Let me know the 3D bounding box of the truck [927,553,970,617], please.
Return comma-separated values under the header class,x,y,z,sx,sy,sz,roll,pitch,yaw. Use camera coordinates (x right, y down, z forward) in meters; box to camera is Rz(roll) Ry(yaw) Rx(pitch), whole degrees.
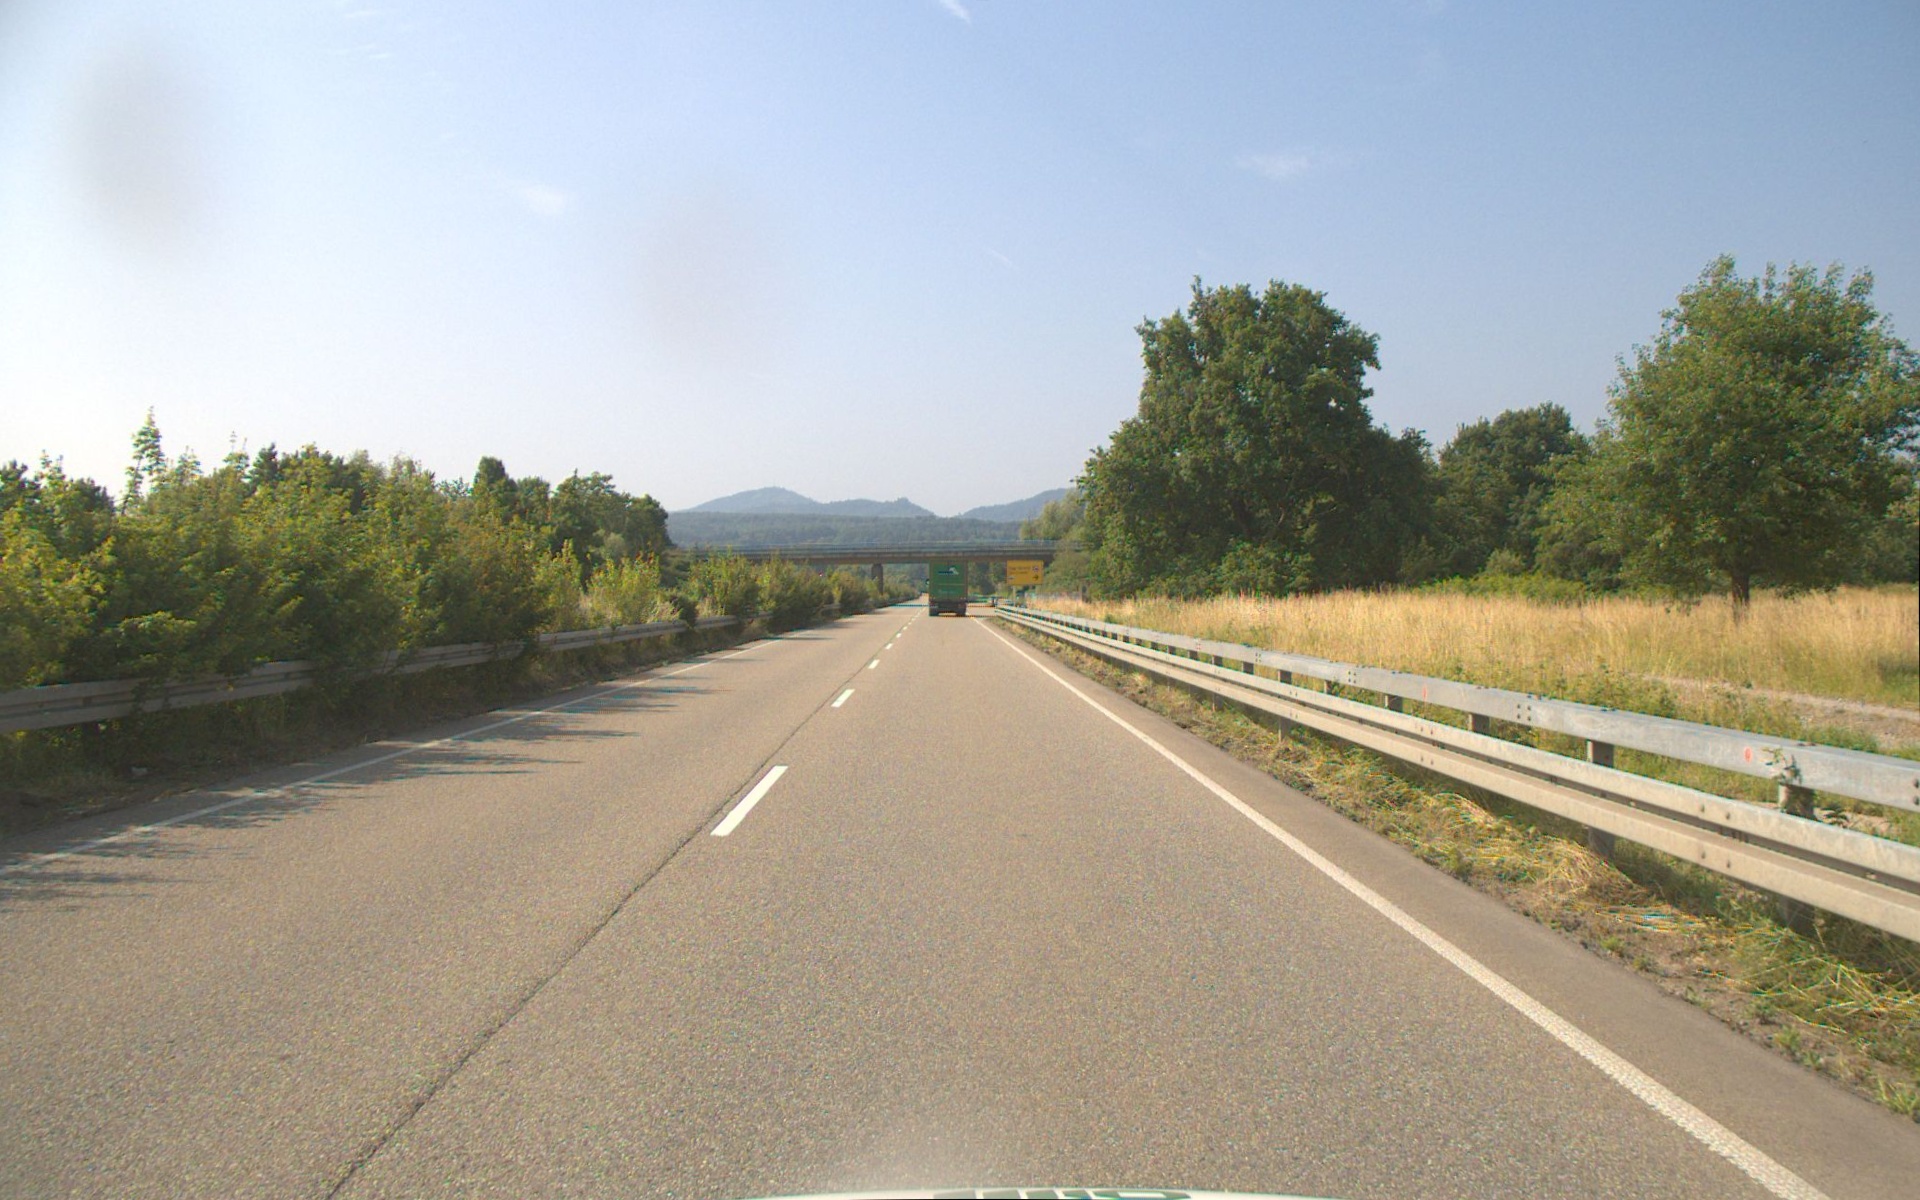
class,x,y,z,sx,sy,sz,roll,pitch,yaw
truck,-0.761,-1.100,111.322,2.666,4.034,10.416,1,1,0
